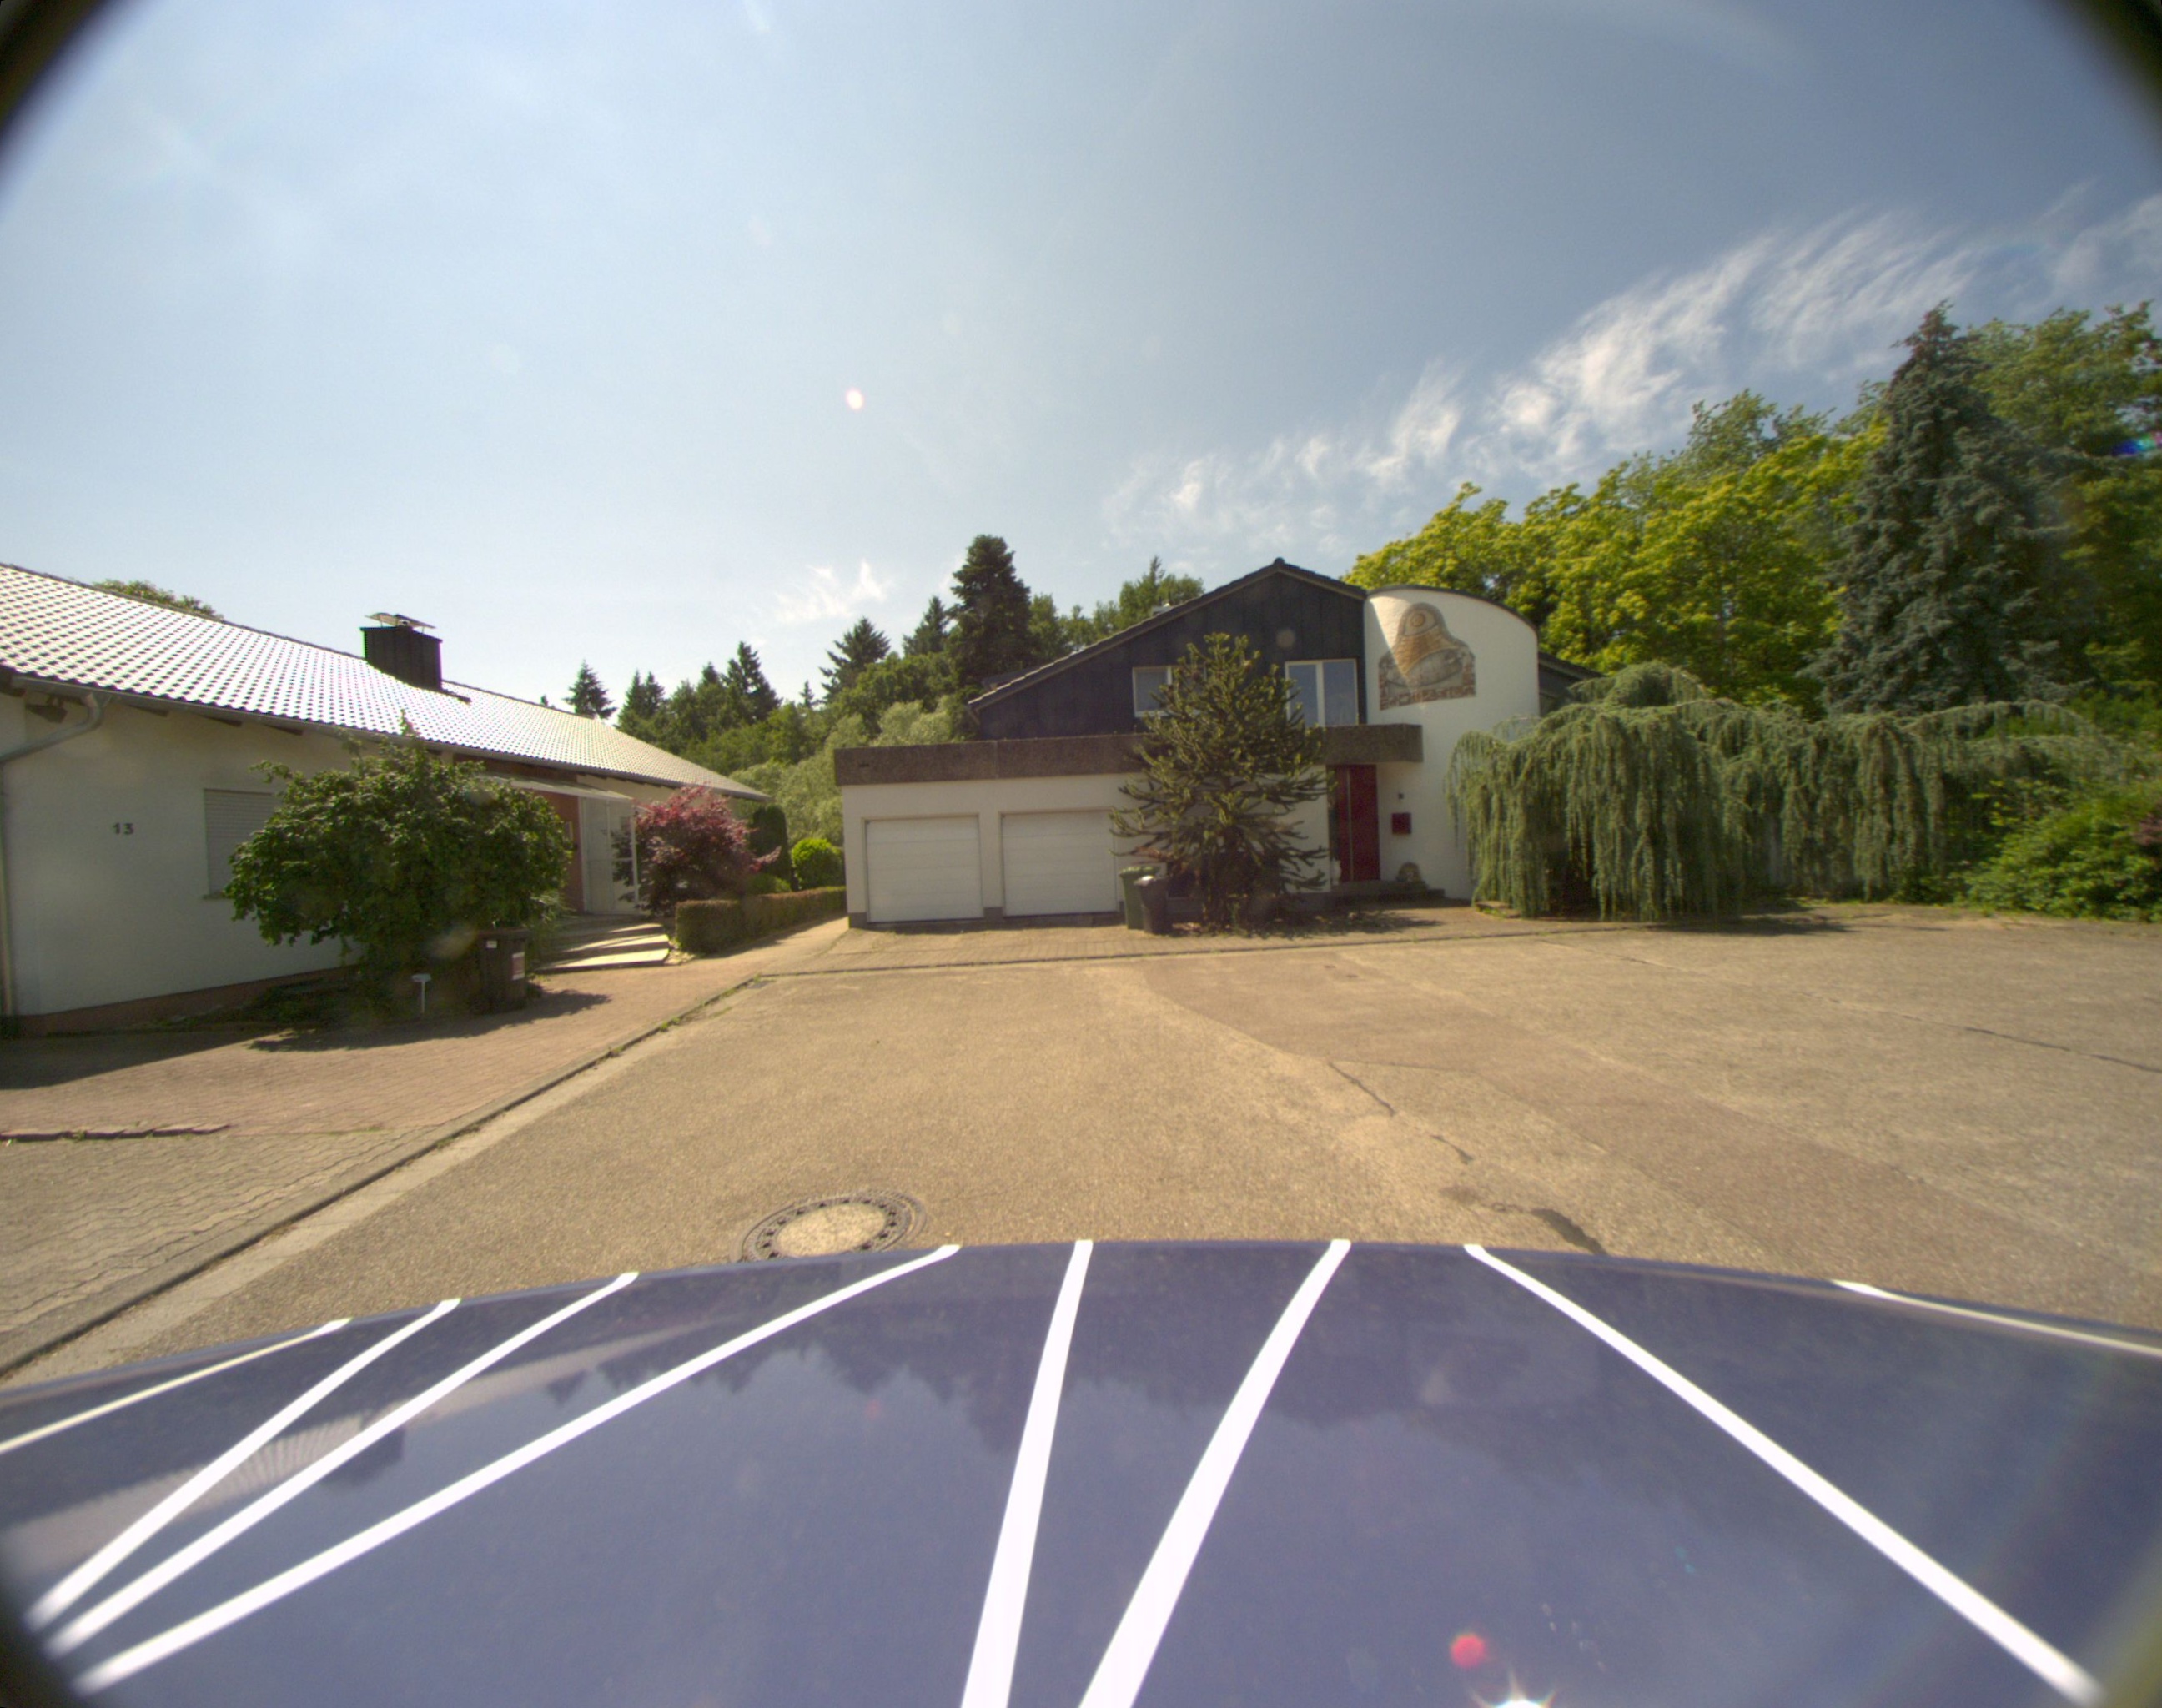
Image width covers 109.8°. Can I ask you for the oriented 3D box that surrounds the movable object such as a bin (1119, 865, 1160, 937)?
[{"bbox_3d":[1.012,0.818,13.305,0.633,1.196,0.551,-2,1,0],"label":"movable object such as a bin"}]

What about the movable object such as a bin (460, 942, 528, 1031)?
[{"bbox_3d":[-6.386,1.433,8.282,0.390,0.886,0.375,-2,2,-1],"label":"movable object such as a bin"}]

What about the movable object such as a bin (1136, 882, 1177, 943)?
[{"bbox_3d":[1.248,0.953,12.583,0.524,0.944,0.388,-3,1,-26],"label":"movable object such as a bin"}]
